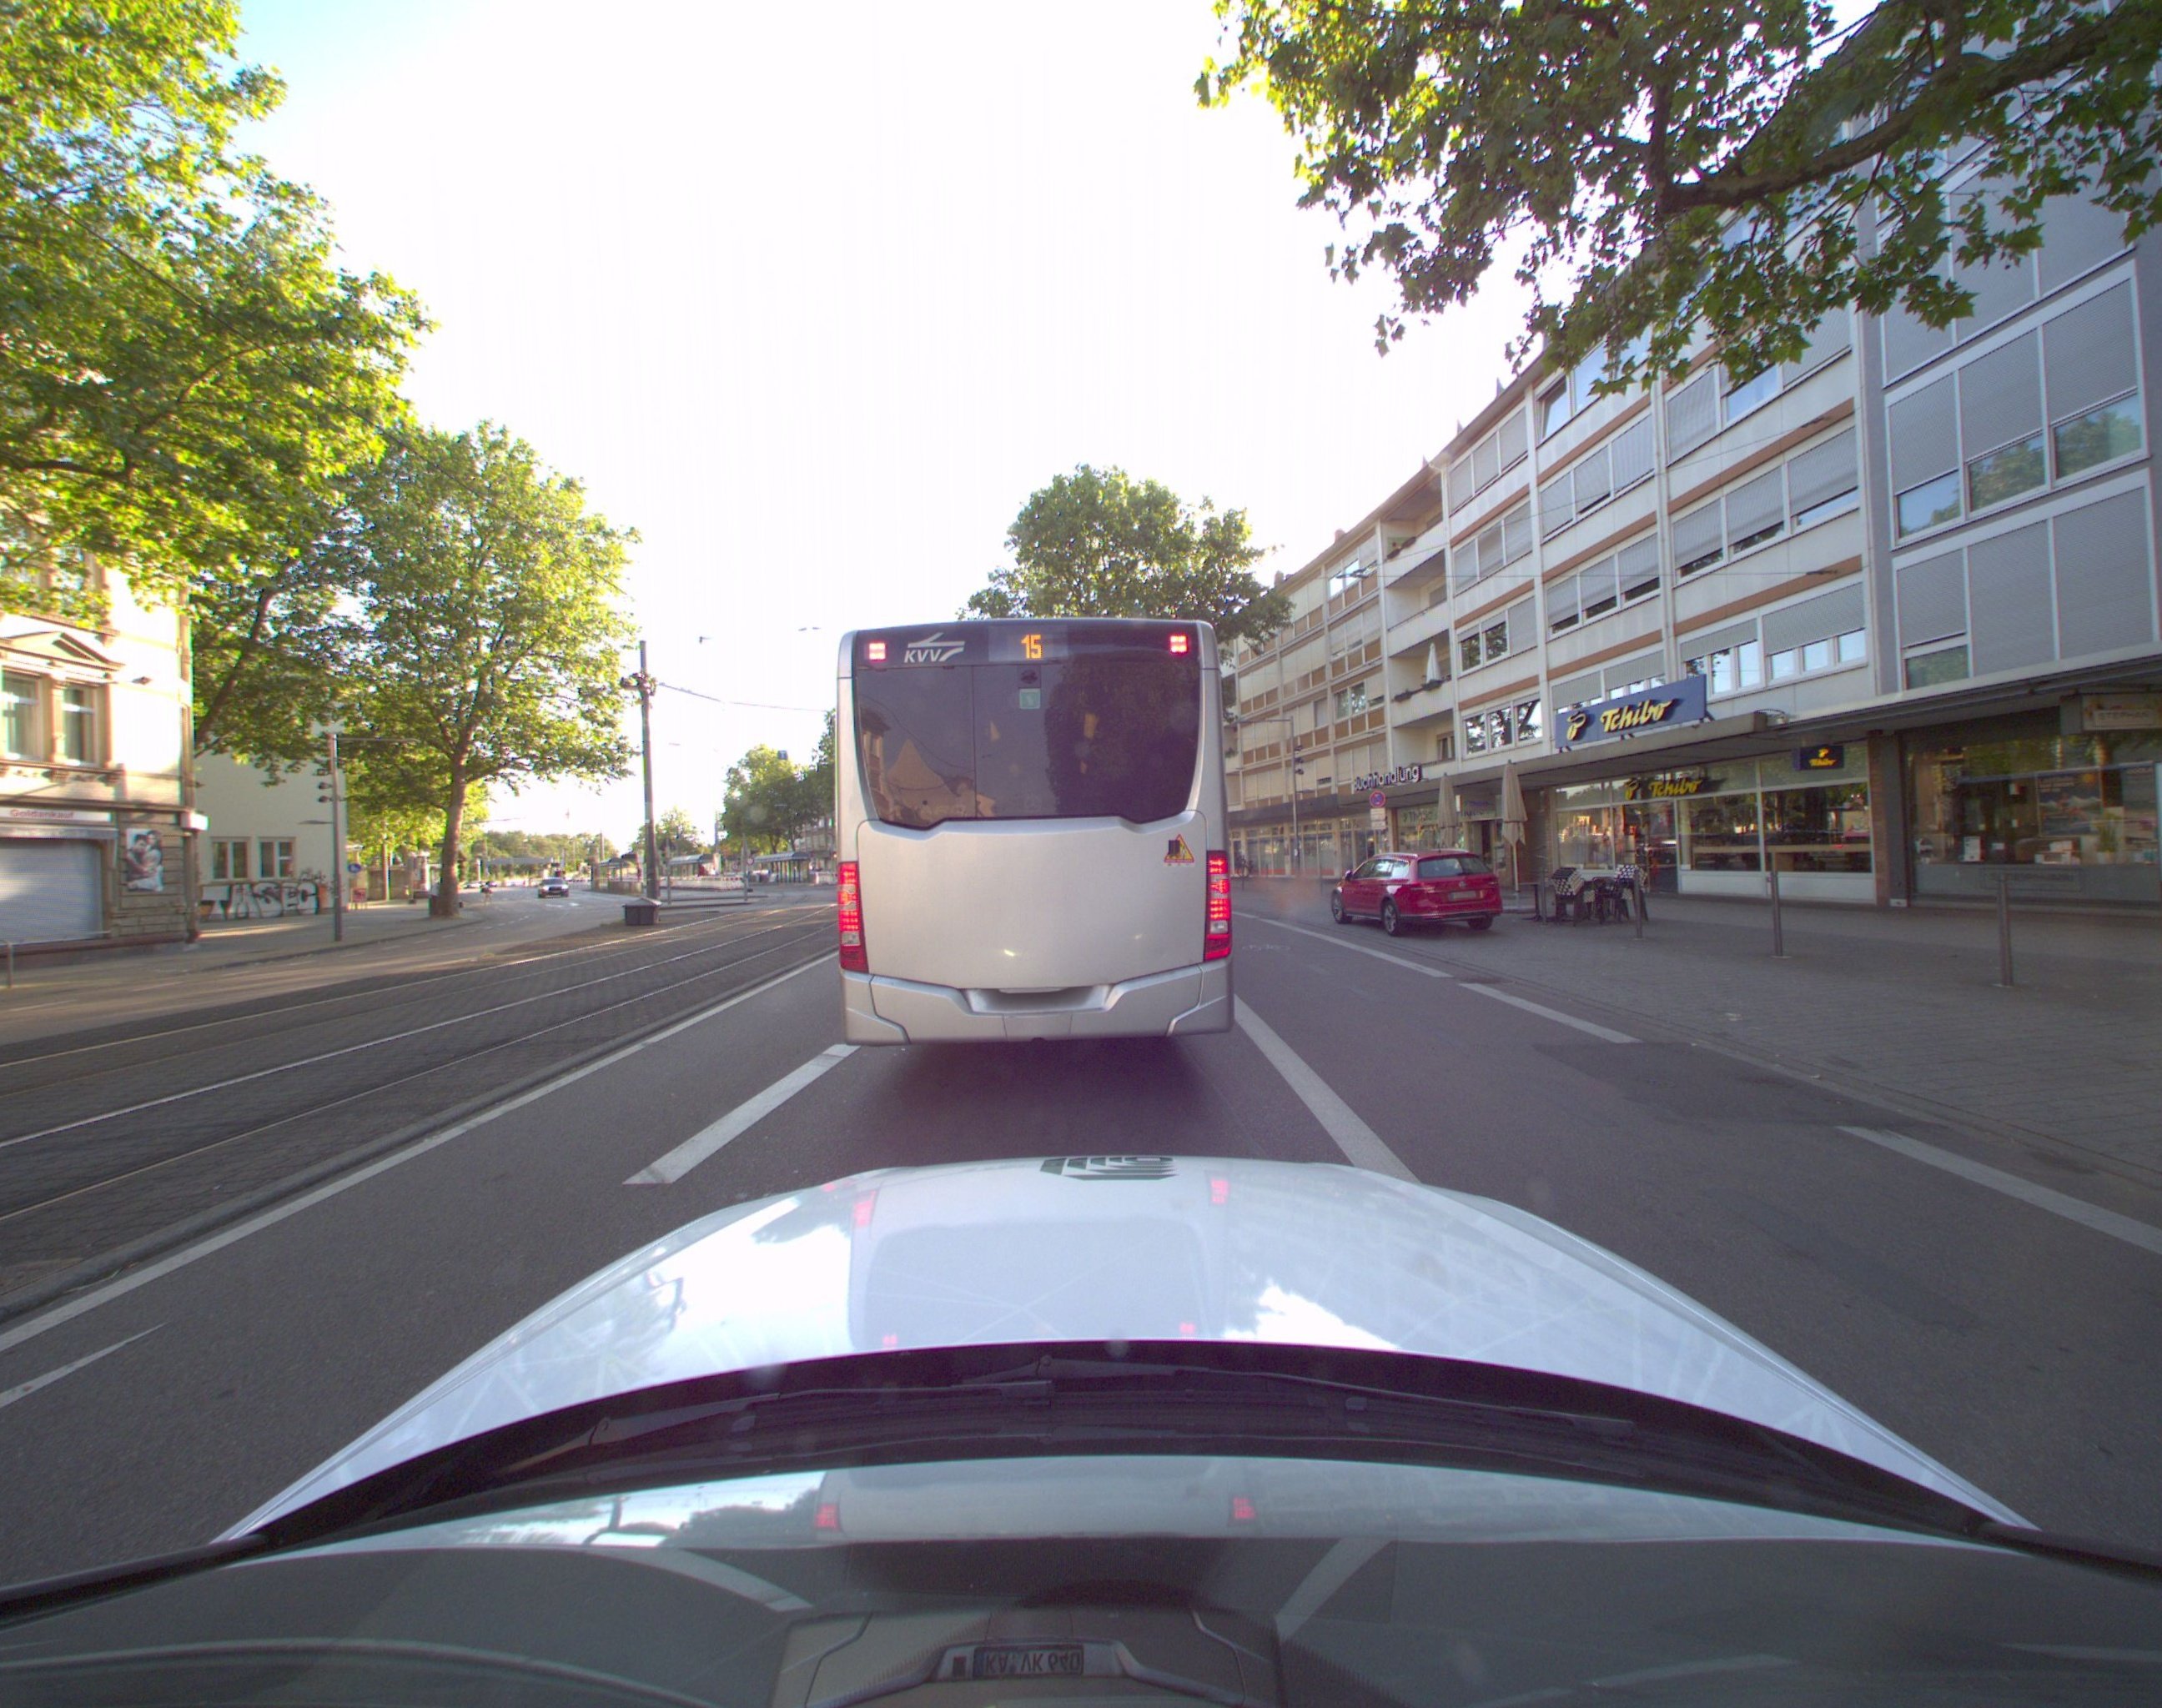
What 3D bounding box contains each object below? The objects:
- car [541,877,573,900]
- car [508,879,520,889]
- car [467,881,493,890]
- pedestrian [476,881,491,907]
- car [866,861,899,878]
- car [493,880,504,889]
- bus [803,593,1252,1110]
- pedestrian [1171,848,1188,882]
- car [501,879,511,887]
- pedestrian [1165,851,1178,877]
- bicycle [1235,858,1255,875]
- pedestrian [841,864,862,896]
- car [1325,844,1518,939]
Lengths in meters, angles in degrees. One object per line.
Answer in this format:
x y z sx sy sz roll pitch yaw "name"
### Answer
-41.103 2.675 63.888 2.008 1.640 3.958 -2 -1 -33 "car"
-111.431 5.908 160.031 1.858 1.684 3.677 -4 1 -35 "car"
-122.651 6.334 166.156 1.768 1.640 4.024 -3 -1 44 "car"
-38.492 2.569 52.464 0.661 1.656 0.438 -2 -1 -41 "pedestrian"
-21.712 1.696 88.910 2.010 1.792 3.954 0 -1 -39 "car"
-117.813 6.096 164.692 1.858 1.684 3.676 -2 -1 -35 "car"
-0.175 0.015 9.837 2.621 3.028 10.000 -1 0 2 "bus"
5.172 0.578 42.760 0.646 1.717 0.557 -2 -1 -14 "pedestrian"
-130.074 6.484 184.212 1.858 1.684 3.676 -2 -1 -35 "car"
5.871 0.655 52.891 0.536 1.648 0.612 -2 -1 -15 "pedestrian"
9.208 0.720 45.698 0.413 0.945 1.431 -2 -1 -18 "bicycle"
-12.363 1.420 43.798 0.994 1.686 0.642 -1 -2 -10 "pedestrian"
6.370 0.638 15.838 1.765 1.482 4.300 -3 0 -2 "car"
